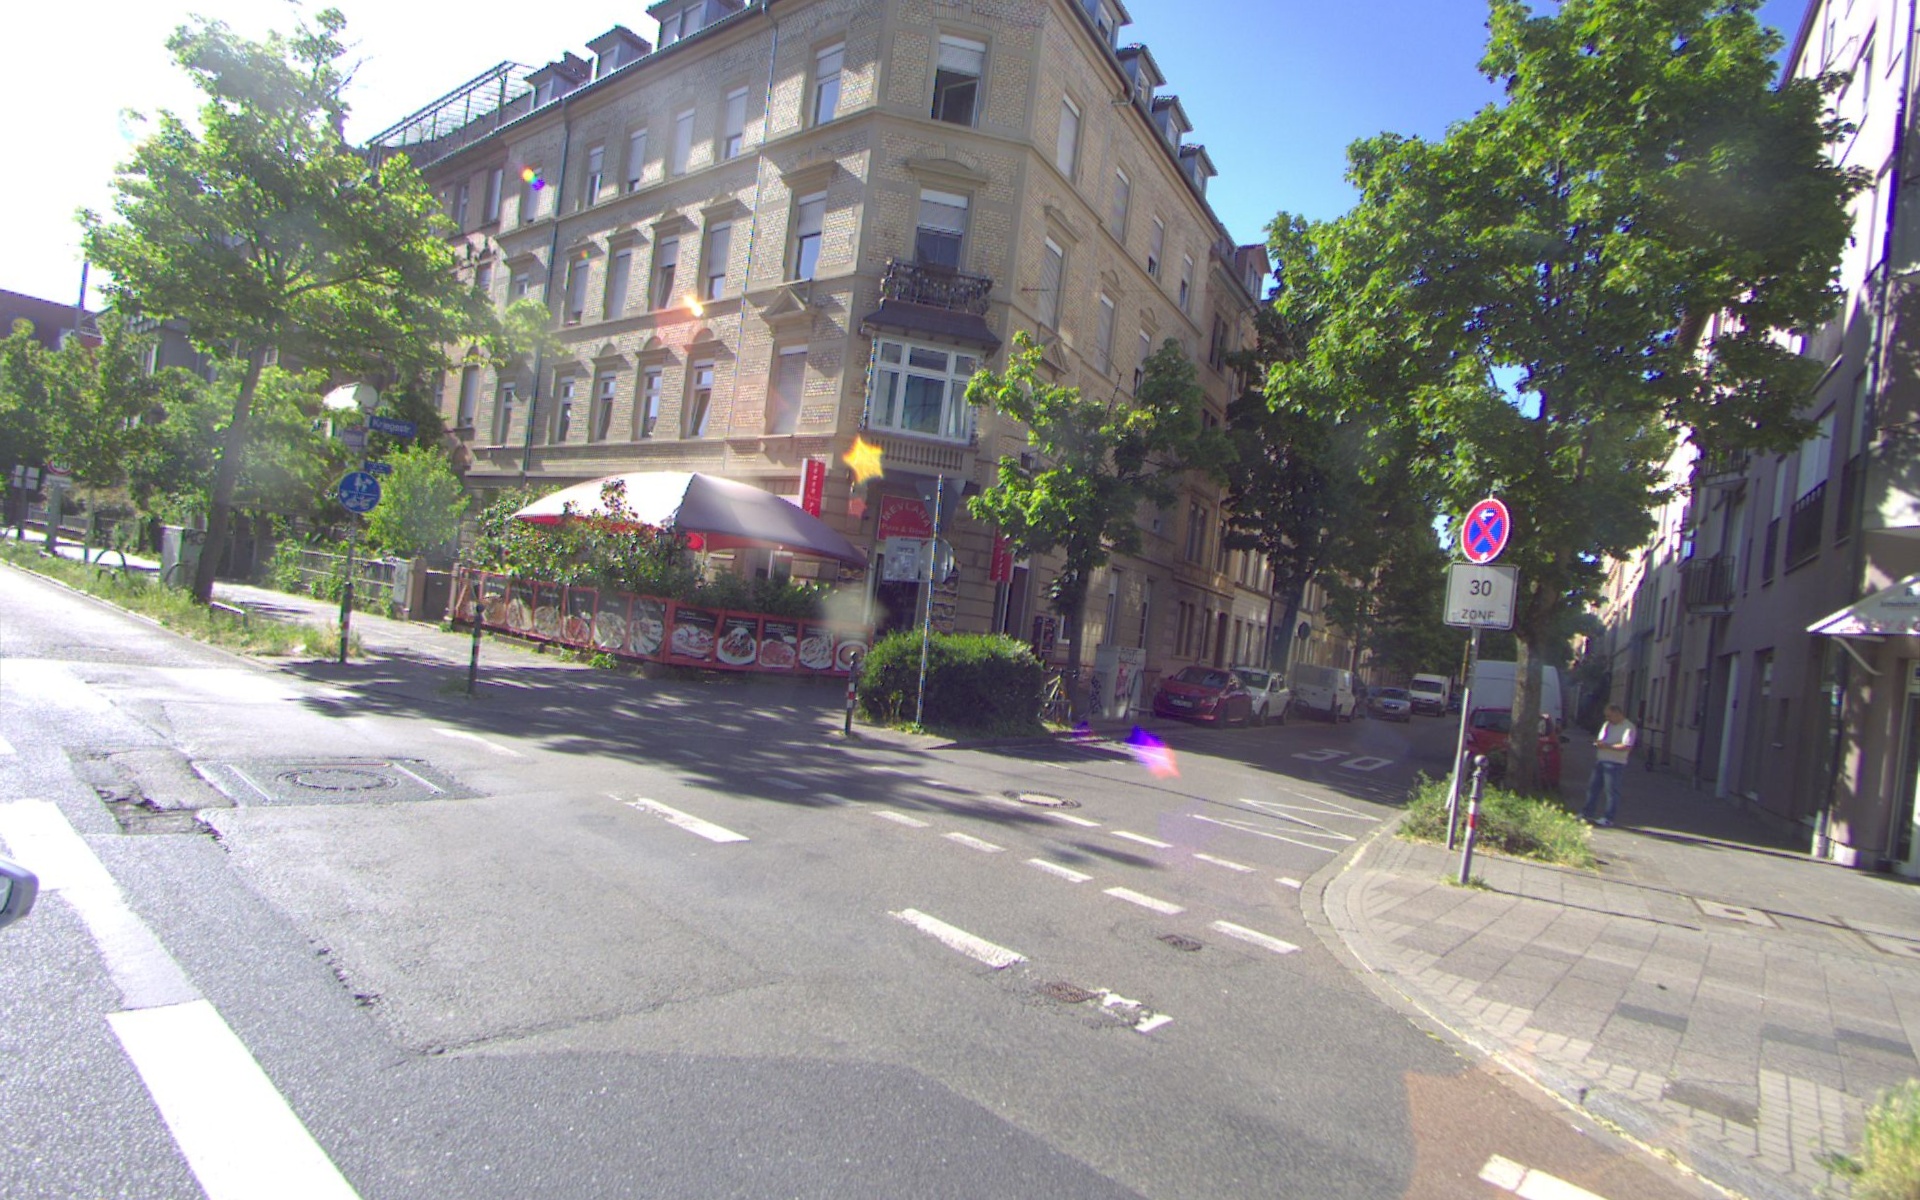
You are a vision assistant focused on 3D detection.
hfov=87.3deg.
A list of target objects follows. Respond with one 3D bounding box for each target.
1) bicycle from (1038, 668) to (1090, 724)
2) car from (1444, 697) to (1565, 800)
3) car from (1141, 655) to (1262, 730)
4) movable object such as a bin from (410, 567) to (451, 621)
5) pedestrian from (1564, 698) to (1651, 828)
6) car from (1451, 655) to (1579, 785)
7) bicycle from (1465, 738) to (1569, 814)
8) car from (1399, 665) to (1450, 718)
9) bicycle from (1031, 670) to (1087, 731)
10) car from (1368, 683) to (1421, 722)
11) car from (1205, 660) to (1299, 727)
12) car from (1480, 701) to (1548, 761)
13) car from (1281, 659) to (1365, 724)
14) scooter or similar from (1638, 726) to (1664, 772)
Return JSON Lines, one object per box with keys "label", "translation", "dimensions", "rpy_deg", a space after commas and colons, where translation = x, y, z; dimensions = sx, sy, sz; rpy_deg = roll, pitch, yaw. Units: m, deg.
{"label": "bicycle", "translation": [1.967, 1.805, 18.960], "dimensions": [0.386, 0.985, 1.311], "rpy_deg": [7, -1, 29]}
{"label": "car", "translation": [10.230, 2.671, 18.790], "dimensions": [1.664, 1.480, 3.994], "rpy_deg": [6, -1, 31]}
{"label": "car", "translation": [6.166, 2.372, 25.371], "dimensions": [1.748, 1.457, 3.998], "rpy_deg": [10, -1, 30]}
{"label": "movable object such as a bin", "translation": [-12.034, -0.133, 22.872], "dimensions": [0.544, 1.146, 0.568], "rpy_deg": [7, 0, 41]}
{"label": "pedestrian", "translation": [8.569, 2.146, 13.324], "dimensions": [0.525, 1.596, 0.630], "rpy_deg": [7, 0, -25]}
{"label": "car", "translation": [13.174, 2.762, 23.989], "dimensions": [2.182, 2.480, 5.089], "rpy_deg": [7, -1, 29]}
{"label": "bicycle", "translation": [7.752, 2.435, 14.021], "dimensions": [1.183, 0.832, 0.293], "rpy_deg": [6, 0, 30]}
{"label": "car", "translation": [27.746, 5.476, 59.992], "dimensions": [2.237, 2.691, 4.321], "rpy_deg": [7, -3, 29]}
{"label": "bicycle", "translation": [1.738, 1.740, 17.514], "dimensions": [0.386, 0.985, 1.311], "rpy_deg": [7, -1, 29]}
{"label": "car", "translation": [19.867, 4.713, 45.917], "dimensions": [1.666, 1.489, 3.998], "rpy_deg": [7, -3, 29]}
{"label": "car", "translation": [8.594, 2.773, 29.390], "dimensions": [1.666, 1.613, 3.998], "rpy_deg": [7, -3, 29]}
{"label": "car", "translation": [17.956, 4.166, 32.516], "dimensions": [1.667, 1.575, 3.816], "rpy_deg": [6, -1, 31]}
{"label": "car", "translation": [13.681, 3.487, 37.758], "dimensions": [1.964, 2.052, 4.299], "rpy_deg": [6, -2, 31]}
{"label": "scooter or similar", "translation": [19.353, 4.164, 28.176], "dimensions": [0.414, 1.161, 1.372], "rpy_deg": [5, -1, 30]}
